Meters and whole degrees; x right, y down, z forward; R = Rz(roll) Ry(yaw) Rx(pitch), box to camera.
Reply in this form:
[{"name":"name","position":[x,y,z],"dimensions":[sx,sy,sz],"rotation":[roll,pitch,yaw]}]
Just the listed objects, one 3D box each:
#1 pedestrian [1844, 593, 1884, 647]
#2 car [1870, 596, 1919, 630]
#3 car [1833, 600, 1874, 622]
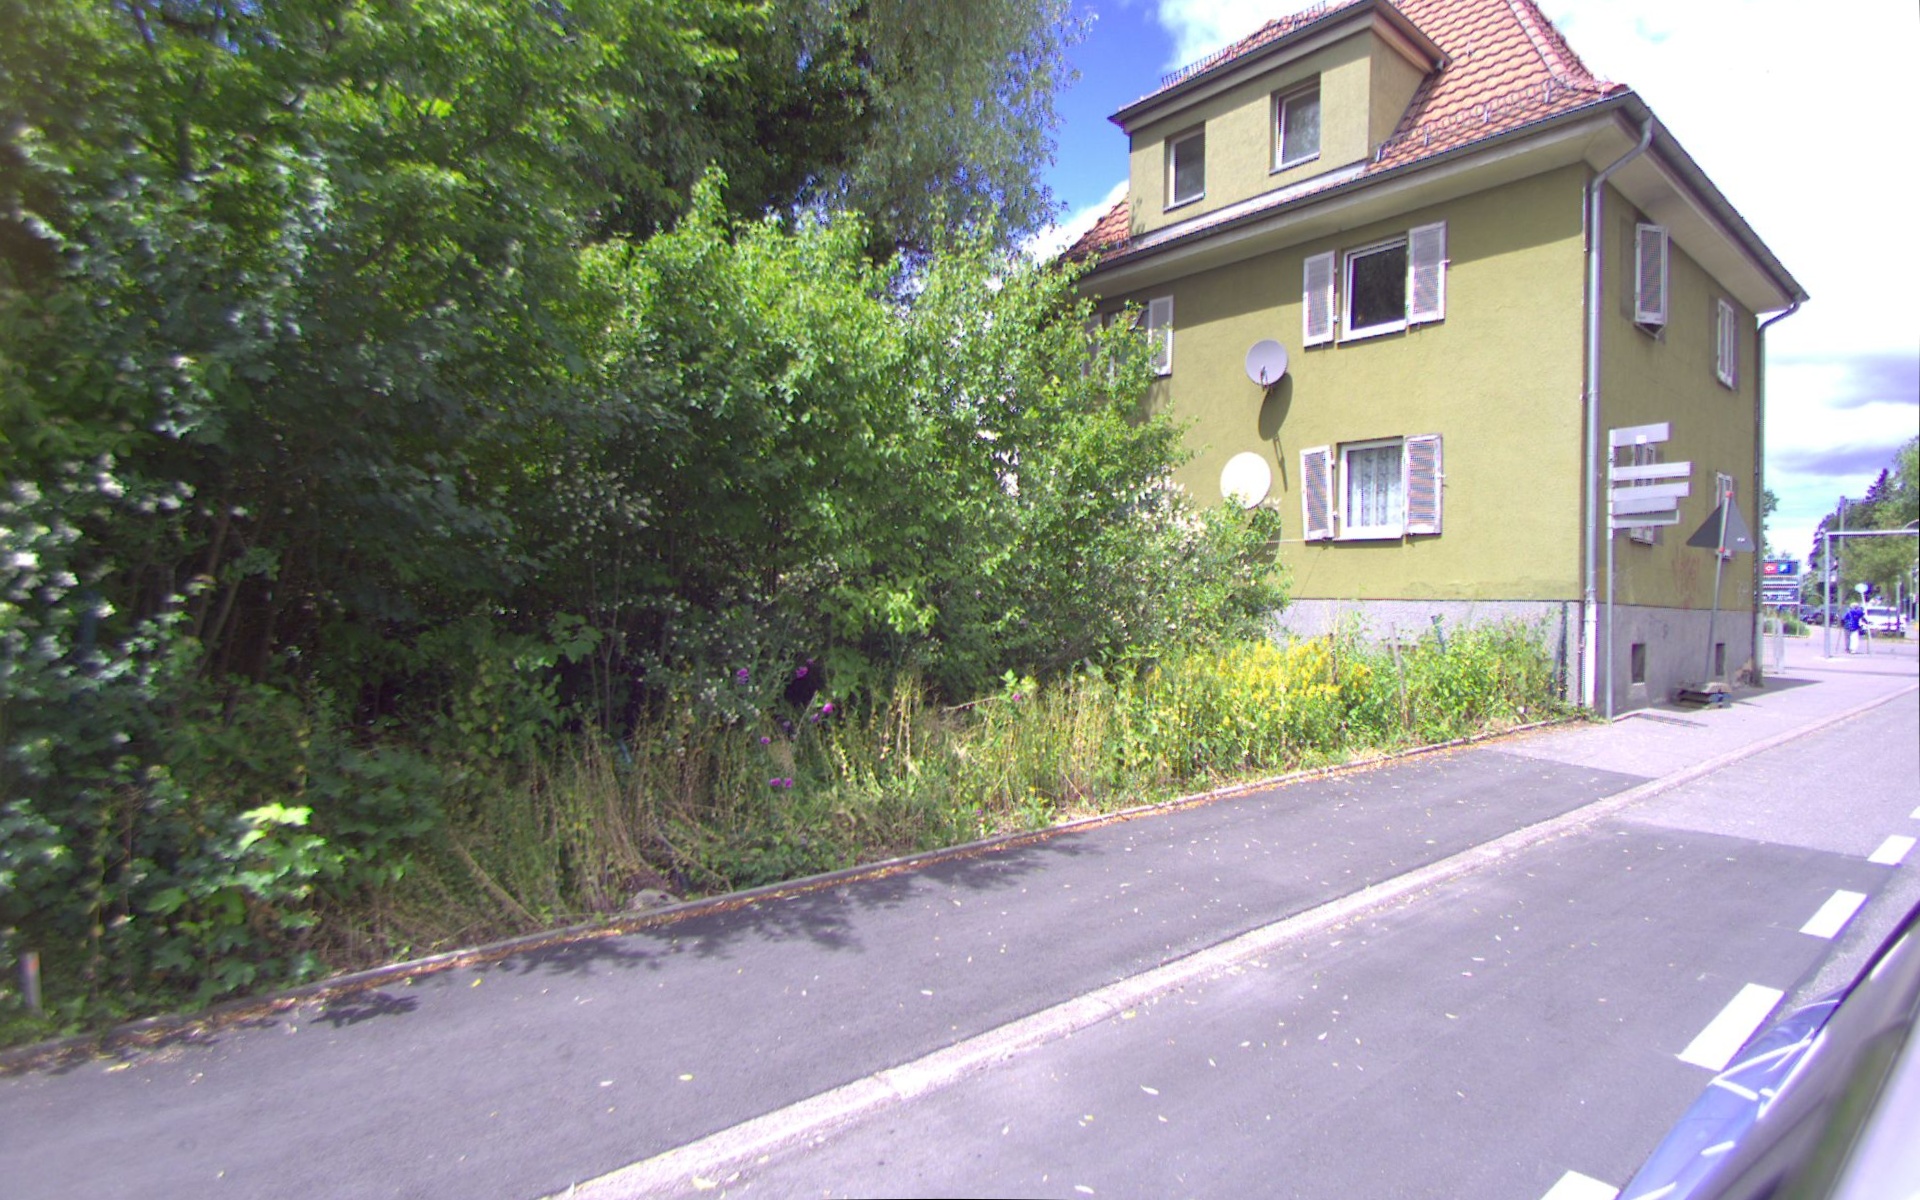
[{"name":"pedestrian","position":[27.381,0.598,30.646],"dimensions":[0.824,1.592,0.972],"rotation":[2,1,45]},{"name":"car","position":[47.541,0.631,51.350],"dimensions":[1.788,1.549,3.864],"rotation":[4,2,40]},{"name":"car","position":[64.988,0.777,73.661],"dimensions":[1.694,1.551,3.951],"rotation":[-1,-1,34]}]
